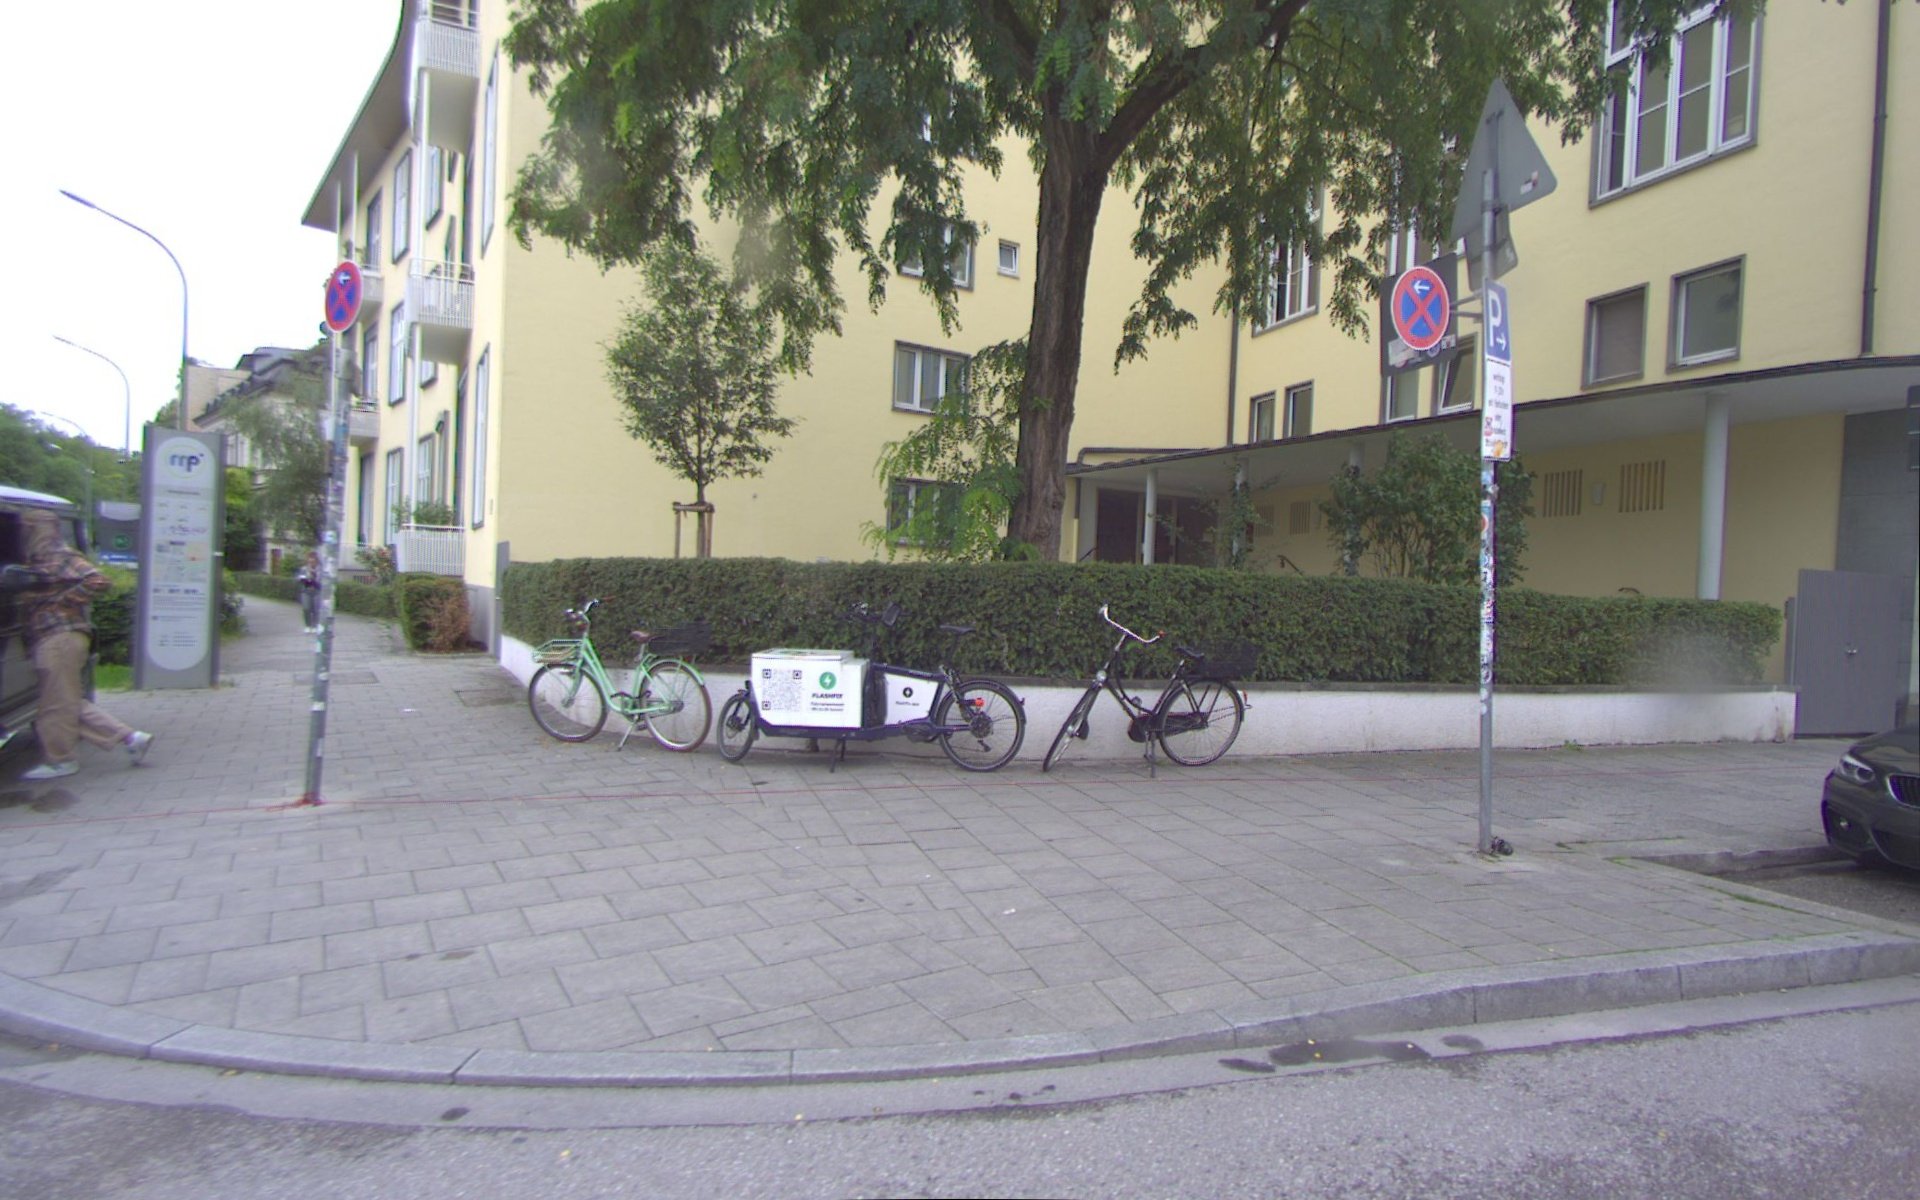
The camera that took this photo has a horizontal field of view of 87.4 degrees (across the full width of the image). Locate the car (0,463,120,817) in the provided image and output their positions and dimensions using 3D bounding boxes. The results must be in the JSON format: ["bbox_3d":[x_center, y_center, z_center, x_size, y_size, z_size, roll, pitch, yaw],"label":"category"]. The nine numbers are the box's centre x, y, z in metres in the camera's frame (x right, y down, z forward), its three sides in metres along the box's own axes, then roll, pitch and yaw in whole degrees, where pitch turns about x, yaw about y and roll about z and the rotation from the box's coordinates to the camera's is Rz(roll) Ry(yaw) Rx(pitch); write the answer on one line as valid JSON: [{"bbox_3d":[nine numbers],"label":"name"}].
[{"bbox_3d":[-7.061,0.162,6.462,1.915,2.027,4.380,3,0,-33],"label":"car"}]

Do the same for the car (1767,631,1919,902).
[{"bbox_3d":[7.087,0.937,5.928,4.034,1.429,1.744,1,0,-19],"label":"car"}]

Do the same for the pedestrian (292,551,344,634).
[{"bbox_3d":[-13.649,-0.161,21.382,0.819,1.699,0.684,3,0,-30],"label":"pedestrian"}]

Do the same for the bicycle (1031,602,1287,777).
[{"bbox_3d":[1.514,0.671,7.662,1.824,1.226,0.561,2,2,-16],"label":"bicycle"}]

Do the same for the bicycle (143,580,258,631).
[{"bbox_3d":[-14.948,0.121,19.819,0.376,0.959,1.838,3,0,23],"label":"bicycle"}]

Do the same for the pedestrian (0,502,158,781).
[{"bbox_3d":[-6.007,0.266,6.822,0.627,1.823,0.561,0,2,-1],"label":"pedestrian"}]

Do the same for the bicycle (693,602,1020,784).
[{"bbox_3d":[-0.726,0.639,7.297,2.251,1.141,0.583,2,2,5],"label":"bicycle"}]

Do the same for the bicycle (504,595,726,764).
[{"bbox_3d":[-2.783,0.576,8.032,1.917,1.172,0.582,2,3,31],"label":"bicycle"}]
